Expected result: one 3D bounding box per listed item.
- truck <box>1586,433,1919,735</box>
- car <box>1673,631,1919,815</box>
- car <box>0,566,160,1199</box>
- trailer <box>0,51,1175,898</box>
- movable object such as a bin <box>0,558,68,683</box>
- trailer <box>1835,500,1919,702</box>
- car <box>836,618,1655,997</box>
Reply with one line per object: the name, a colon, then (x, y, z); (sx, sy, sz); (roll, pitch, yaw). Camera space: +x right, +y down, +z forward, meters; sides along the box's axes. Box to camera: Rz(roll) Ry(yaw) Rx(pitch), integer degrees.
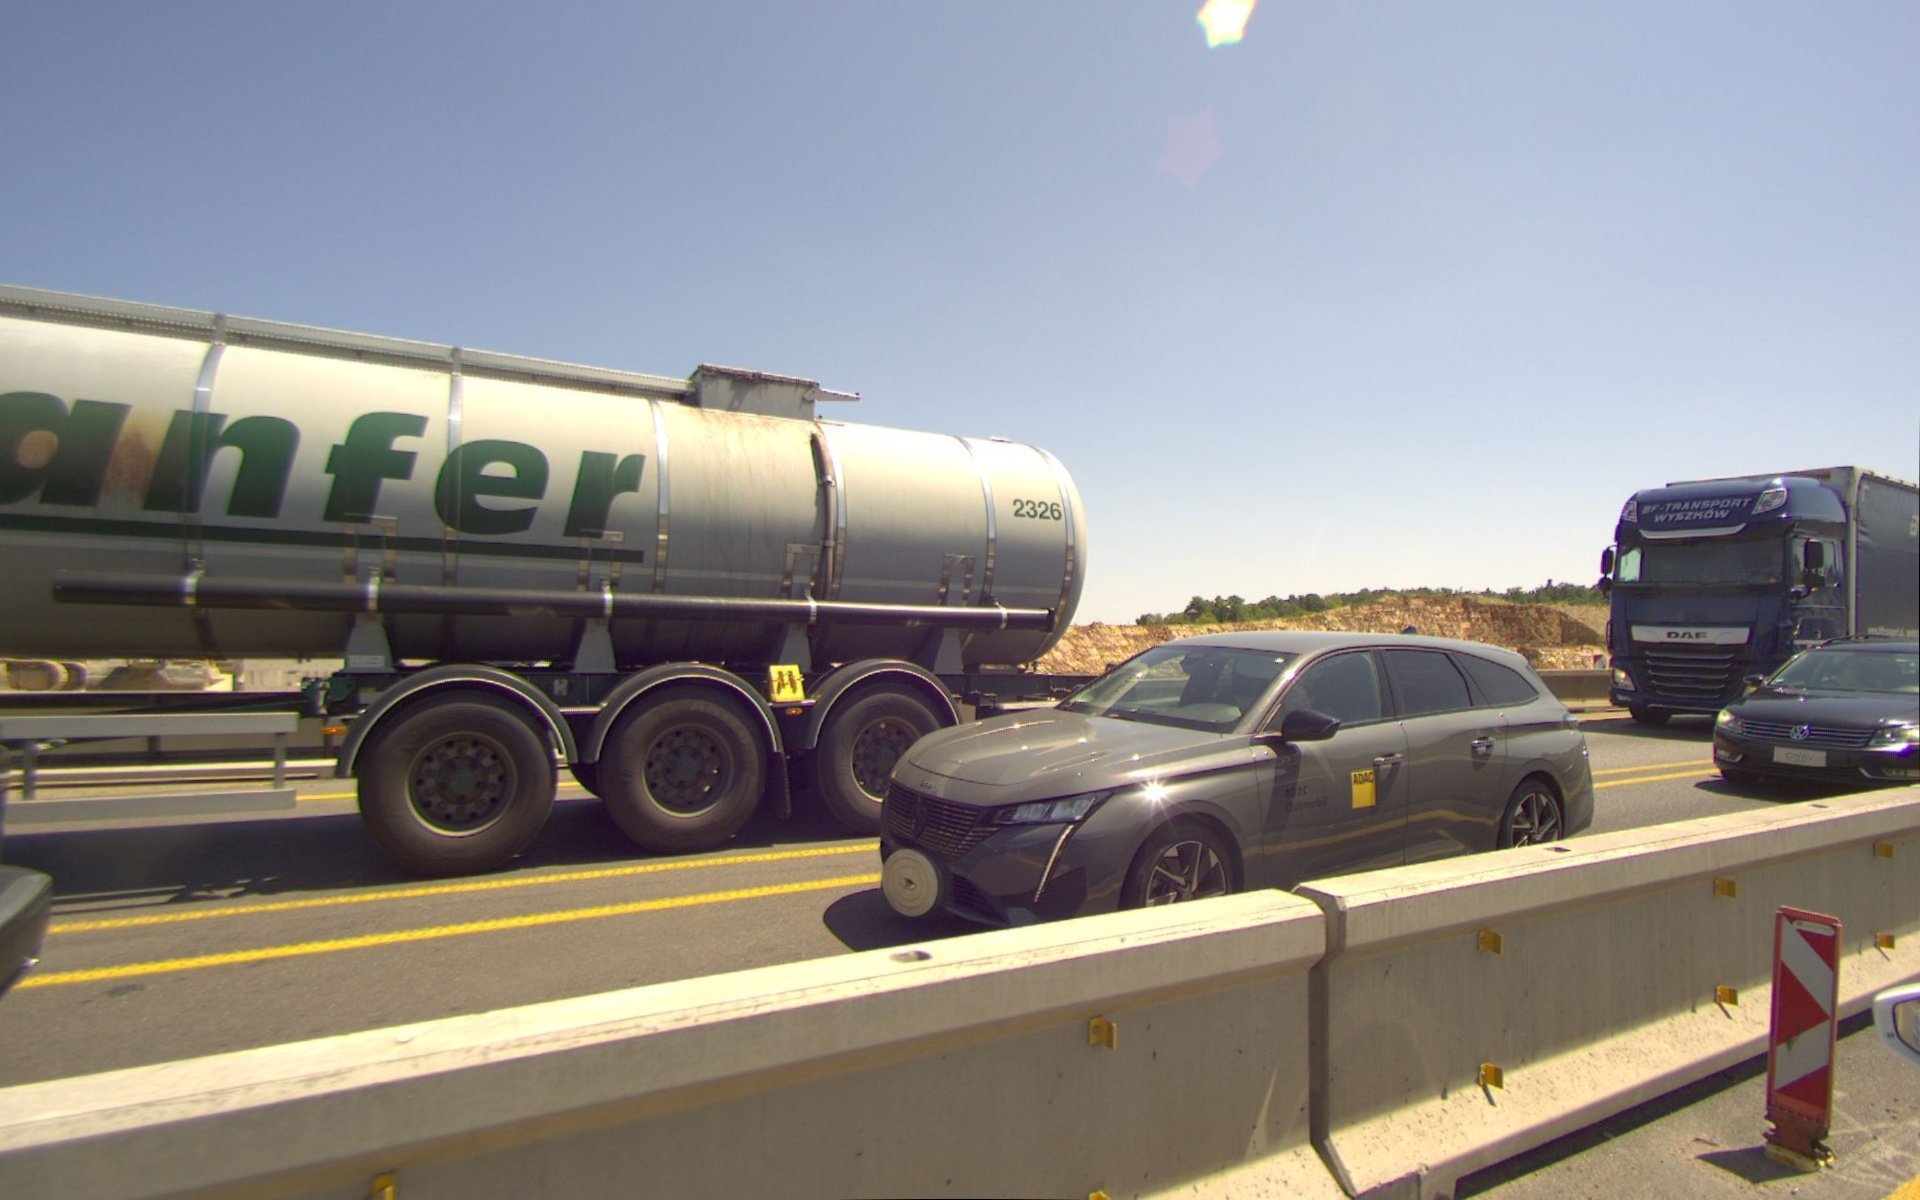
truck: (15.425, -0.095, 18.033); (10.751, 4.192, 2.758); (1, -2, -33)
car: (9.334, 1.075, 10.103); (4.740, 1.466, 1.727); (2, -1, -30)
car: (-4.197, 0.667, 1.772); (4.067, 1.564, 1.671); (1, -1, -28)
trailer: (-3.783, -0.548, 6.706); (11.100, 4.030, 2.694); (1, -2, -28)
movable object such as a bin: (-26.170, 0.619, 25.196); (4.932, 3.065, 3.649); (-1, -2, -29)
trailer: (23.384, 0.094, 23.095); (8.096, 4.192, 2.722); (1, -2, -32)
car: (1.819, 0.858, 5.768); (4.740, 1.435, 1.727); (2, -1, -30)
